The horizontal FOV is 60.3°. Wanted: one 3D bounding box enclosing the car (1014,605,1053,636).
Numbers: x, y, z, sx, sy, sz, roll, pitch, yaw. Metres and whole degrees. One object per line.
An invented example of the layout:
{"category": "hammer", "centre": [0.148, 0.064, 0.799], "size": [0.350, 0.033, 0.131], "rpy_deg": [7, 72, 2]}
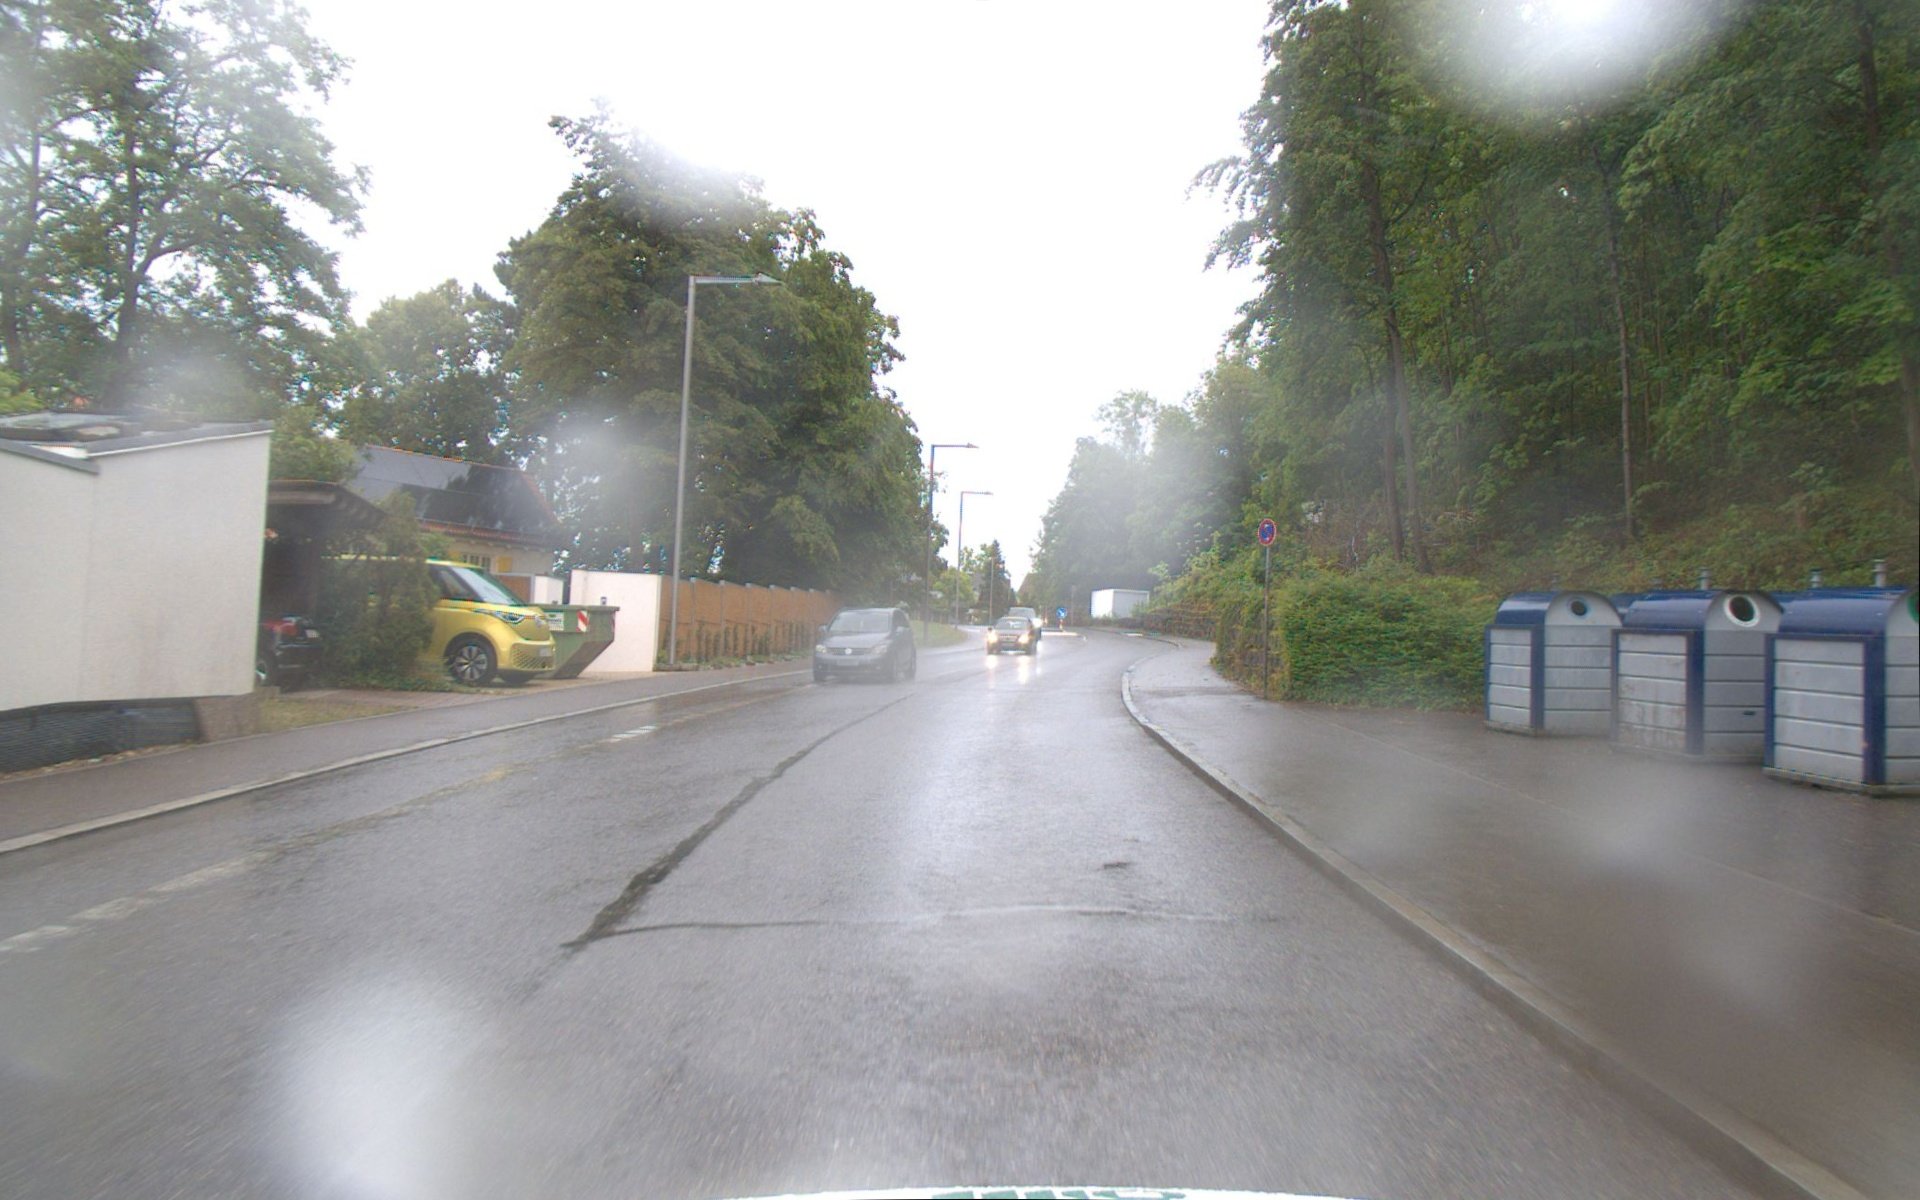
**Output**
{"category": "car", "centre": [4.172, 1.161, 92.871], "size": [1.877, 1.676, 4.549], "rpy_deg": [1, -1, 6]}

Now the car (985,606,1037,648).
{"category": "car", "centre": [2.011, 1.028, 64.166], "size": [1.795, 1.538, 4.171], "rpy_deg": [2, 0, 5]}

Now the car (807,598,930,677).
{"category": "car", "centre": [-1.895, 0.777, 35.735], "size": [1.795, 1.538, 4.621], "rpy_deg": [2, 0, 8]}

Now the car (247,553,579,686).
{"category": "car", "centre": [-8.454, 0.286, 25.821], "size": [4.407, 1.892, 2.091], "rpy_deg": [1, 0, 6]}

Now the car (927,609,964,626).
{"category": "car", "centre": [-1.656, 1.936, 184.504], "size": [1.997, 1.660, 3.940], "rpy_deg": [6, -2, -42]}

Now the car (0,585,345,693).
{"category": "car", "centre": [-10.282, 0.489, 21.463], "size": [3.914, 1.326, 1.791], "rpy_deg": [0, 0, -1]}
